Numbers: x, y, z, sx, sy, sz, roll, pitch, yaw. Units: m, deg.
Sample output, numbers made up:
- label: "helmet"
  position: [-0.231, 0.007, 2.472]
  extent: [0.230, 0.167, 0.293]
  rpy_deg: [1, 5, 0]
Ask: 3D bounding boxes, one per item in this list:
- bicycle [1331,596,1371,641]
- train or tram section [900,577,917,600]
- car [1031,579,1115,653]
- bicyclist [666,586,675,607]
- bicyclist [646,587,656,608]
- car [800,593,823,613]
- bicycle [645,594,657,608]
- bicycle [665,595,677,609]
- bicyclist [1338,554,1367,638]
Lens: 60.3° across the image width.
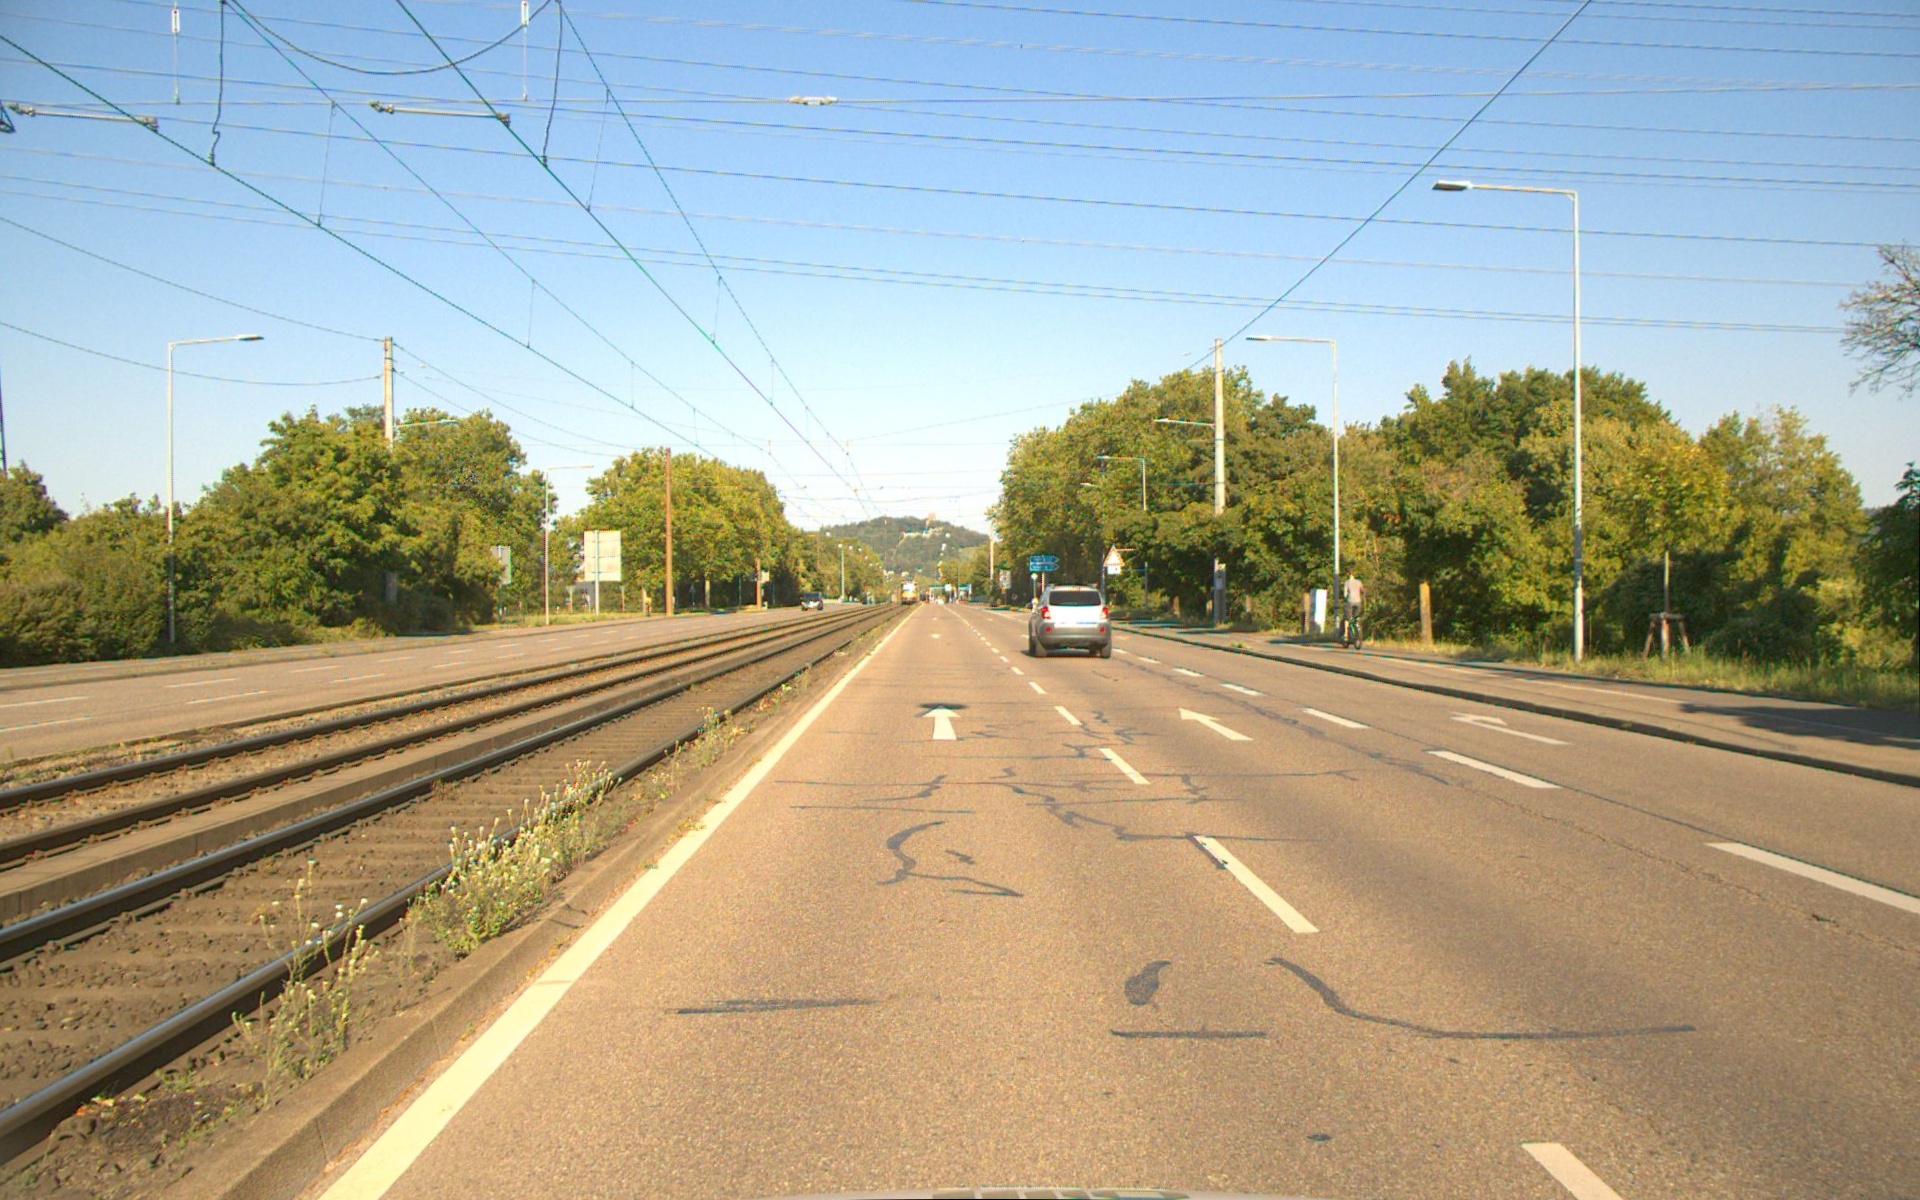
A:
- label: "bicycle"
  position: [9.712, 0.445, 41.170]
  extent: [0.516, 1.079, 1.971]
  rpy_deg: [1, 0, 0]
- label: "train or tram section"
  position: [-7.909, -1.732, 254.754]
  extent: [2.264, 3.273, 9.473]
  rpy_deg: [1, 0, -1]
- label: "car"
  position: [2.722, 0.376, 40.645]
  extent: [1.849, 1.723, 4.257]
  rpy_deg: [0, 0, 1]
- label: "bicyclist"
  position: [-22.502, -0.255, 128.542]
  extent: [0.578, 1.639, 0.967]
  rpy_deg: [-1, 0, -2]
- label: "bicyclist"
  position: [-23.493, -0.174, 125.766]
  extent: [0.578, 1.555, 0.906]
  rpy_deg: [-1, 0, -2]
- label: "car"
  position: [-15.360, 0.311, 171.281]
  extent: [1.952, 1.956, 4.860]
  rpy_deg: [-1, 0, 0]
- label: "bicycle"
  position: [-23.496, 0.102, 125.815]
  extent: [0.578, 1.040, 2.185]
  rpy_deg: [-1, 0, -2]
- label: "bicycle"
  position: [-22.479, 0.172, 128.649]
  extent: [0.578, 1.040, 2.185]
  rpy_deg: [-1, 0, -2]
- label: "bicyclist"
  position: [9.722, -0.092, 40.994]
  extent: [0.516, 2.052, 0.729]
  rpy_deg: [1, 0, 0]
